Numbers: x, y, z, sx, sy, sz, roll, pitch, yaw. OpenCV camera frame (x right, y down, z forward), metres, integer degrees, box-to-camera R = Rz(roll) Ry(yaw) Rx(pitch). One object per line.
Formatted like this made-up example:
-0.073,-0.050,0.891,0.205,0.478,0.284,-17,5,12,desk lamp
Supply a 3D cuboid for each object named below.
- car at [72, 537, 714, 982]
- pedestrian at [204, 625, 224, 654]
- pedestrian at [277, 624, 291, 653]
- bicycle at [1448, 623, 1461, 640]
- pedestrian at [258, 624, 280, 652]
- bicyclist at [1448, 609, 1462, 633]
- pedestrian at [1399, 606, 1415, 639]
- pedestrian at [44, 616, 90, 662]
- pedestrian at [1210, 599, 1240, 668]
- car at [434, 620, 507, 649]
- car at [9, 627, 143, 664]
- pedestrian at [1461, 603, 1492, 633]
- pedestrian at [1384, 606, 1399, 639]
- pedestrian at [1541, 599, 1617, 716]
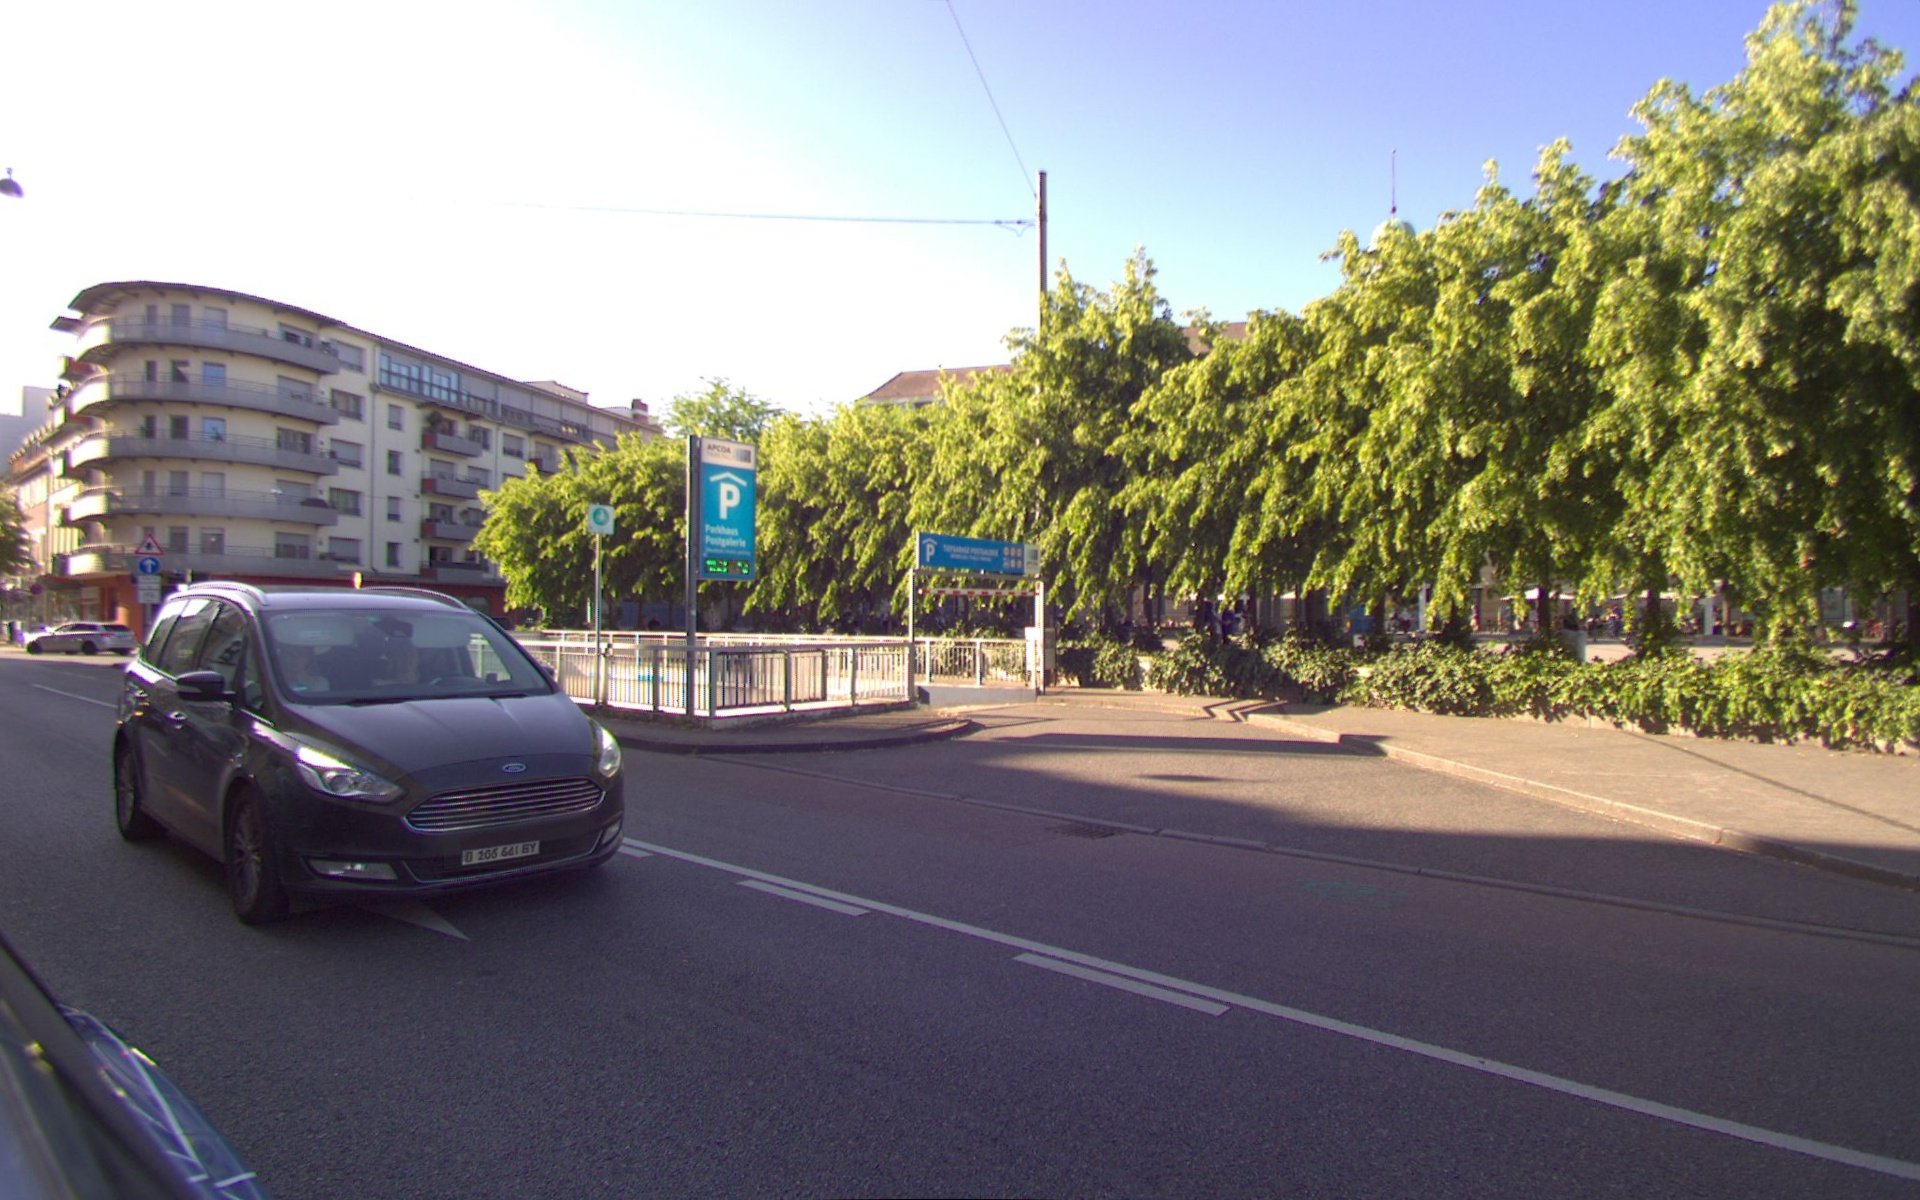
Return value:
-3.799,0.697,6.362,4.724,1.785,1.973,-1,-2,40,car
-37.733,1.990,51.199,0.780,1.472,0.583,0,-1,-40,pedestrian
-35.310,2.023,52.889,0.573,1.501,0.794,0,-1,-36,pedestrian
29.455,1.858,60.281,0.587,0.961,1.887,-1,-1,30,bicycle
-36.730,2.027,53.769,0.782,1.473,0.582,0,-1,3,pedestrian
29.540,1.262,60.409,0.671,1.439,0.691,-1,-1,31,bicyclist
26.754,1.353,60.592,0.751,1.948,0.938,-1,-1,20,pedestrian
-40.750,1.760,46.192,1.008,2.029,1.198,-1,0,4,pedestrian
6.550,0.826,25.047,0.672,1.683,0.843,-1,-1,13,pedestrian
-30.520,2.132,63.201,1.983,1.763,3.977,-1,-1,17,car
-36.863,1.884,42.260,4.197,1.445,1.801,-1,-1,5,car
34.668,1.207,67.972,1.431,1.926,1.257,-1,-1,0,pedestrian
25.953,1.358,60.911,0.751,1.948,0.938,-1,-1,20,pedestrian
9.772,0.884,15.973,0.885,1.771,0.738,0,-1,-39,pedestrian
